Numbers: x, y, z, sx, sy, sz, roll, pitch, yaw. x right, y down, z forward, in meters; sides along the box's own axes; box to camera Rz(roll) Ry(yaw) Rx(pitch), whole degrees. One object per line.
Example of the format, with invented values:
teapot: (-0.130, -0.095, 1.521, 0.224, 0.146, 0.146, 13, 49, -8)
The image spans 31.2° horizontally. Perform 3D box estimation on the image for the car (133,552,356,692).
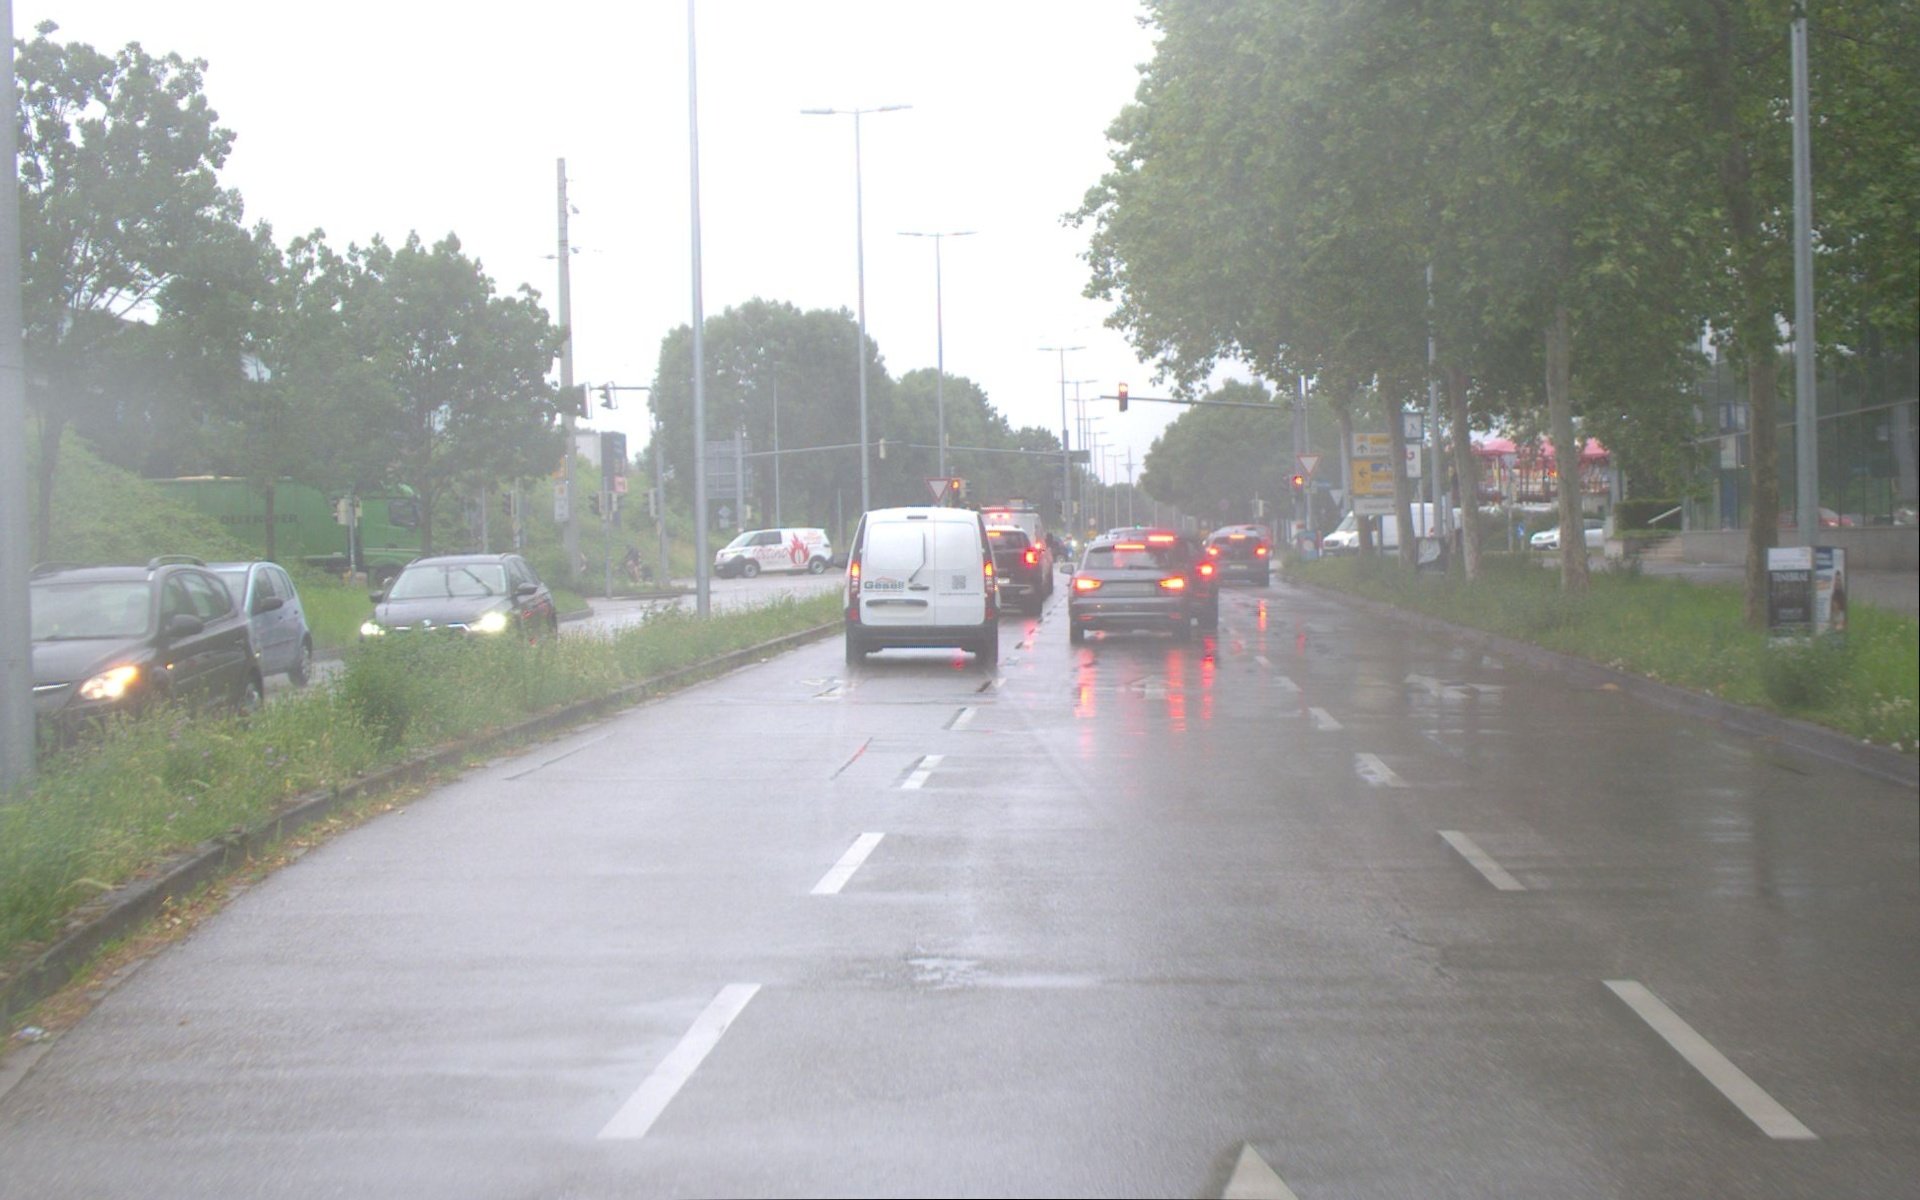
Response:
car: (-8.667, 0.232, 41.950, 1.696, 1.612, 3.847, -1, 1, 3)

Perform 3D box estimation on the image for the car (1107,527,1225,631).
car: (3.238, -0.361, 54.552, 1.708, 1.544, 4.000, 0, 2, 1)

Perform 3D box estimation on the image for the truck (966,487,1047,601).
truck: (1.052, -1.230, 76.374, 1.756, 2.458, 4.000, 0, 1, 1)

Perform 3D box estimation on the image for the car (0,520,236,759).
car: (-6.599, 0.243, 25.323, 1.823, 1.569, 4.360, -3, 1, -4)

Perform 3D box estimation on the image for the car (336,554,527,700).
car: (-6.207, 0.272, 40.787, 1.720, 1.612, 4.346, -1, 1, -2)

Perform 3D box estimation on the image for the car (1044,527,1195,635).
car: (2.188, -0.278, 48.001, 1.993, 1.447, 4.000, 0, 1, 1)

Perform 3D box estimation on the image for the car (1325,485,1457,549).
car: (19.292, -3.692, 153.754, 6.001, 2.734, 2.000, 0, -1, -33)

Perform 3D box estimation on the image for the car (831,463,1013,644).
car: (-0.394, -0.500, 40.249, 1.993, 2.007, 4.000, 0, -1, 1)

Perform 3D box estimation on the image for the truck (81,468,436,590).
truck: (-20.824, -2.046, 102.487, 10.109, 3.440, 2.658, 0, -1, -34)

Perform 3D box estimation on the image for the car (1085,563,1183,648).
car: (3.154, 0.077, 62.476, 1.711, 1.440, 4.000, -1, 1, 3)

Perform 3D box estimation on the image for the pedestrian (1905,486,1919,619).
pedestrian: (12.954, -0.626, 45.269, 0.664, 1.756, 1.076, -1, 1, -3)
